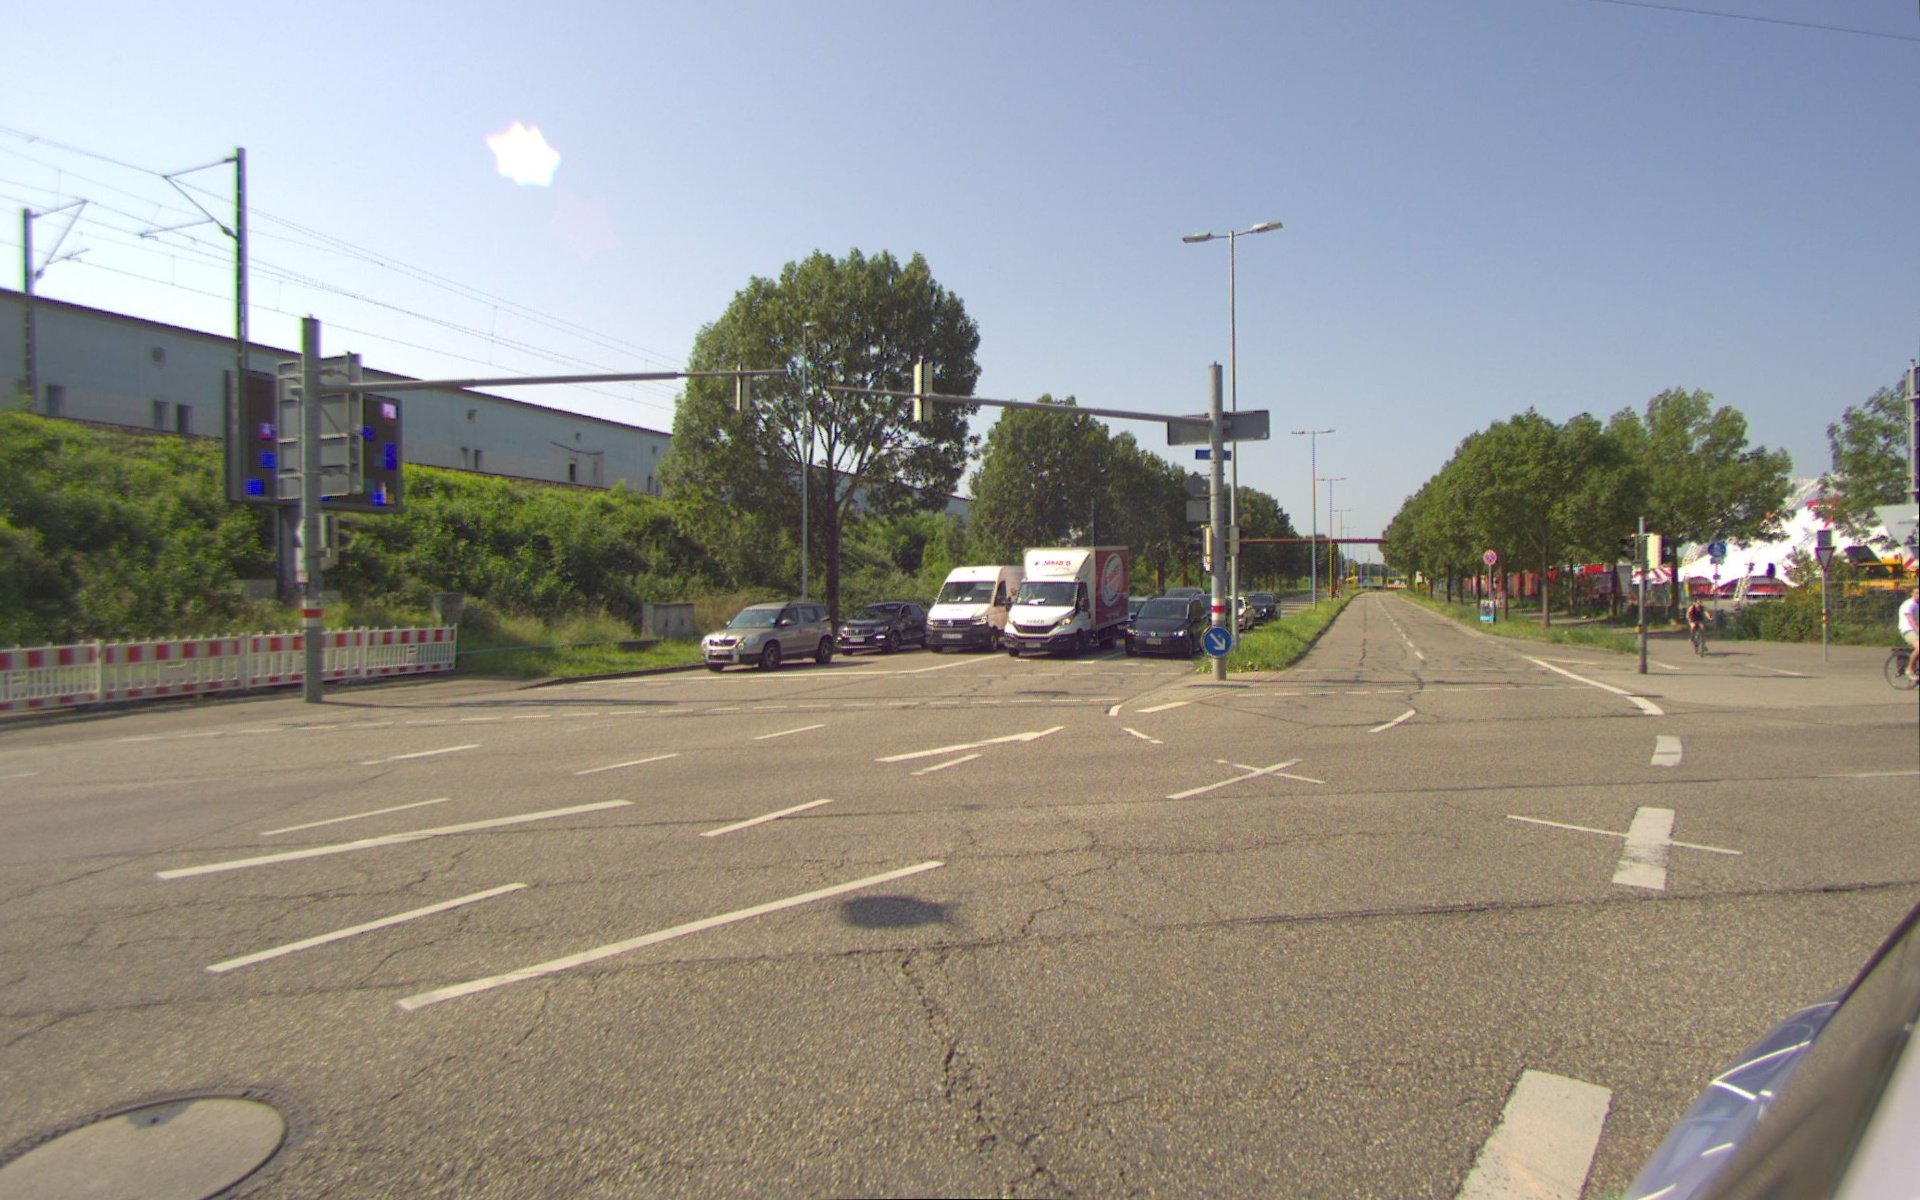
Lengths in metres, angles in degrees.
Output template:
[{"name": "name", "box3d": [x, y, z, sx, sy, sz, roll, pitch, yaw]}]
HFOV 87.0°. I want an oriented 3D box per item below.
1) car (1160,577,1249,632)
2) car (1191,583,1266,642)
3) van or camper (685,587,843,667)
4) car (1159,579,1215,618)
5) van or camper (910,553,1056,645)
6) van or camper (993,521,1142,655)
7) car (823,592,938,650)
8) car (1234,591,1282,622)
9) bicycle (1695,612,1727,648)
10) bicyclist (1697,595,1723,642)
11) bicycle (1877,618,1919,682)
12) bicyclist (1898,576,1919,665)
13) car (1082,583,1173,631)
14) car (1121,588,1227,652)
[{"name": "car", "box3d": [8.769, 0.216, 35.953, 2.123, 1.763, 5.178, -2, -2, 24]}, {"name": "car", "box3d": [11.522, 0.566, 43.198, 2.225, 2.291, 5.178, -2, -2, 24]}, {"name": "van or camper", "box3d": [-4.740, 0.671, 25.077, 1.831, 1.799, 4.141, -2, -2, 23]}, {"name": "car", "box3d": [10.640, -0.022, 47.218, 1.641, 1.686, 3.718, -2, -2, 27]}, {"name": "van or camper", "box3d": [0.913, 0.044, 31.619, 2.223, 2.515, 6.812, -2, -2, 22]}, {"name": "van or camper", "box3d": [3.316, -0.213, 29.443, 2.225, 3.406, 6.792, -2, -2, 24]}, {"name": "car", "box3d": [-2.361, 0.599, 31.084, 1.975, 1.571, 3.973, -2, 0, 21]}, {"name": "car", "box3d": [14.352, 0.321, 48.638, 1.639, 1.416, 3.722, -2, -1, 25]}, {"name": "bicycle", "box3d": [22.720, 0.888, 30.605, 0.571, 1.070, 1.470, -2, -2, 44]}, {"name": "bicyclist", "box3d": [22.683, 0.566, 30.603, 0.501, 1.382, 0.685, -4, -3, 45]}, {"name": "bicycle", "box3d": [17.666, 0.921, 18.121, 0.760, 1.101, 2.213, -1, 1, 11]}, {"name": "bicyclist", "box3d": [17.622, 0.364, 18.130, 0.588, 1.615, 1.200, -2, -2, 11]}, {"name": "car", "box3d": [6.386, 0.293, 38.074, 2.143, 1.630, 4.932, -2, -2, 24]}, {"name": "car", "box3d": [6.222, 0.591, 28.965, 1.885, 1.634, 5.151, -2, -2, 24]}]
